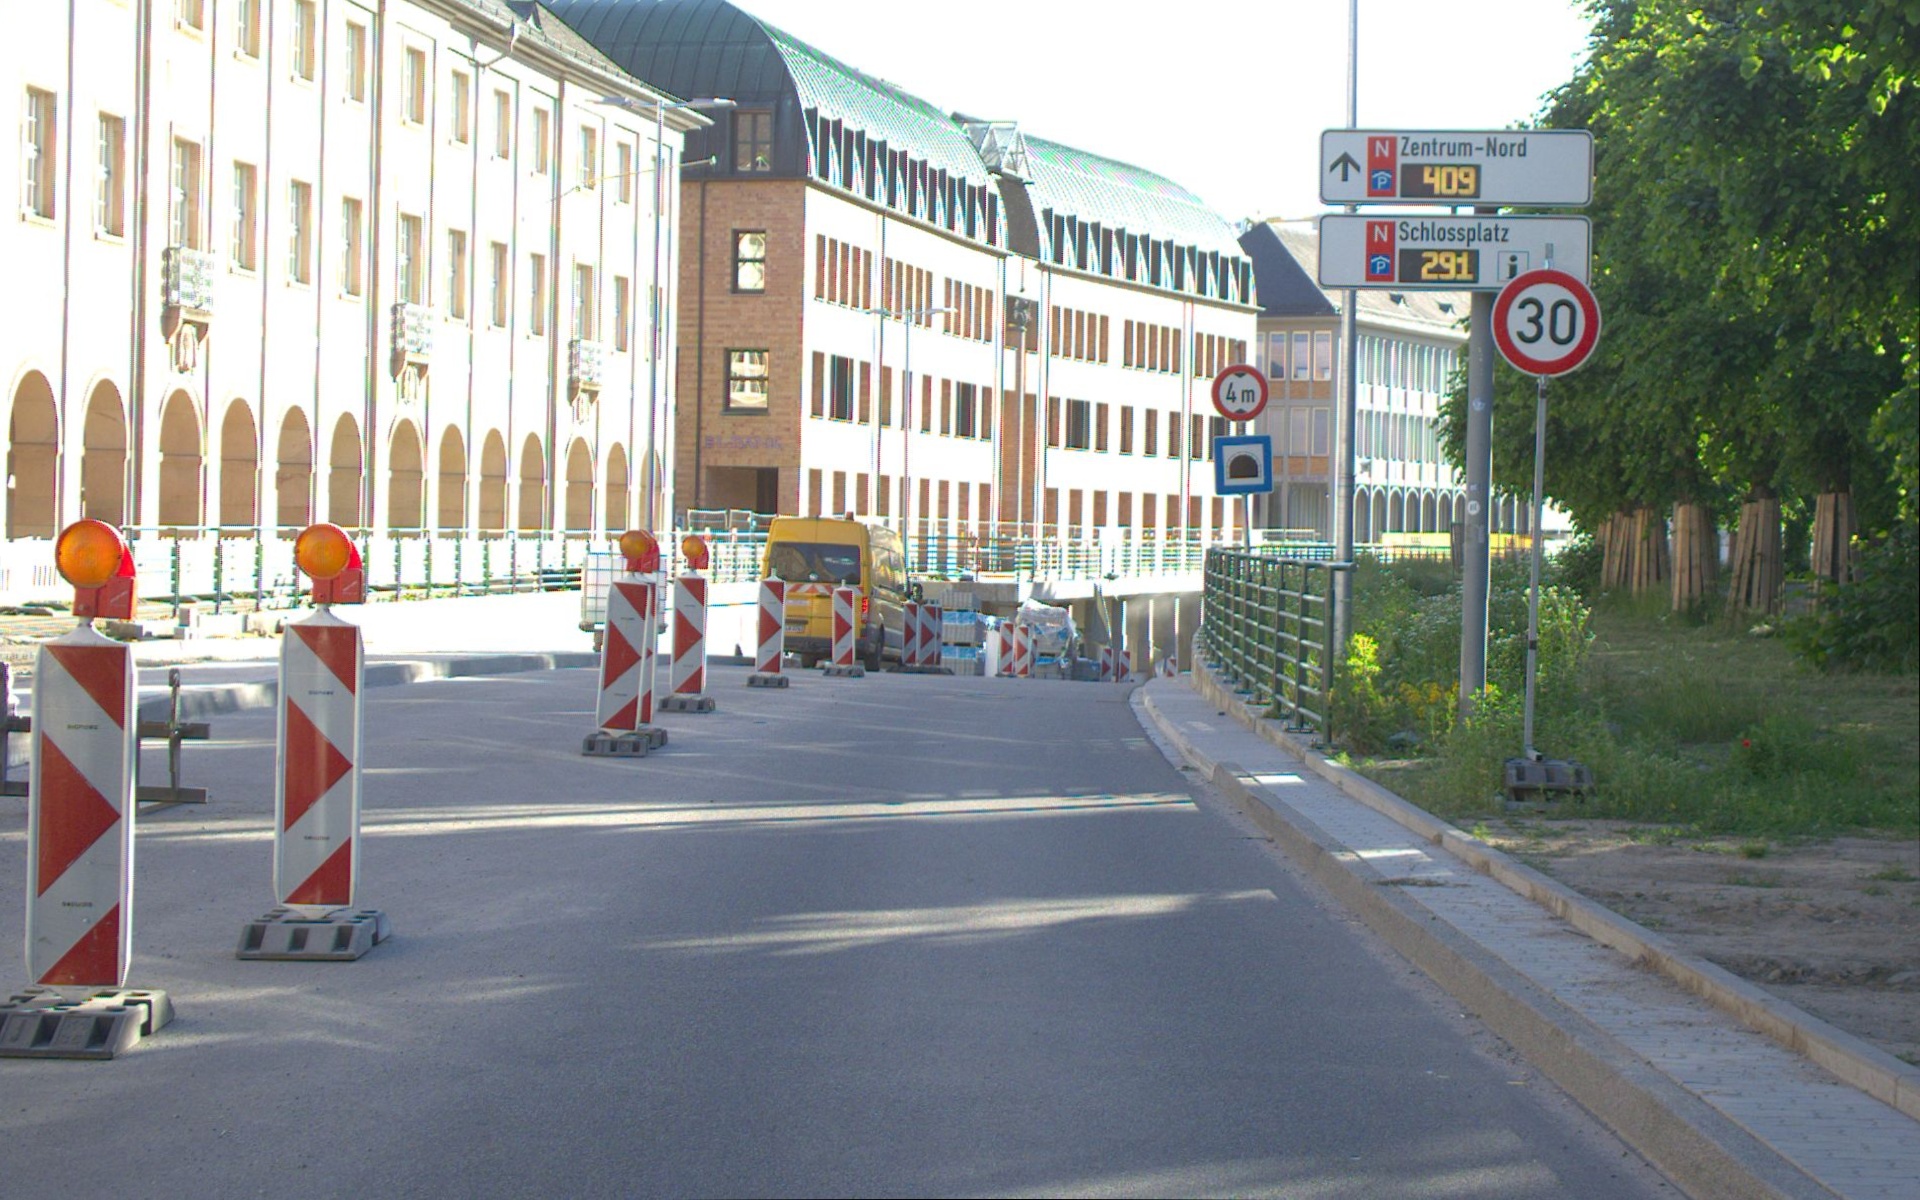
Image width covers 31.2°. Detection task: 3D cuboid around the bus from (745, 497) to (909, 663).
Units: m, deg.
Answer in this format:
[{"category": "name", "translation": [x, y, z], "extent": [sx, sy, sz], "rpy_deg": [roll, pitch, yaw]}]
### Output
[{"category": "bus", "translation": [-2.222, -0.291, 58.933], "extent": [2.073, 2.677, 4.682], "rpy_deg": [2, -1, 6]}]
